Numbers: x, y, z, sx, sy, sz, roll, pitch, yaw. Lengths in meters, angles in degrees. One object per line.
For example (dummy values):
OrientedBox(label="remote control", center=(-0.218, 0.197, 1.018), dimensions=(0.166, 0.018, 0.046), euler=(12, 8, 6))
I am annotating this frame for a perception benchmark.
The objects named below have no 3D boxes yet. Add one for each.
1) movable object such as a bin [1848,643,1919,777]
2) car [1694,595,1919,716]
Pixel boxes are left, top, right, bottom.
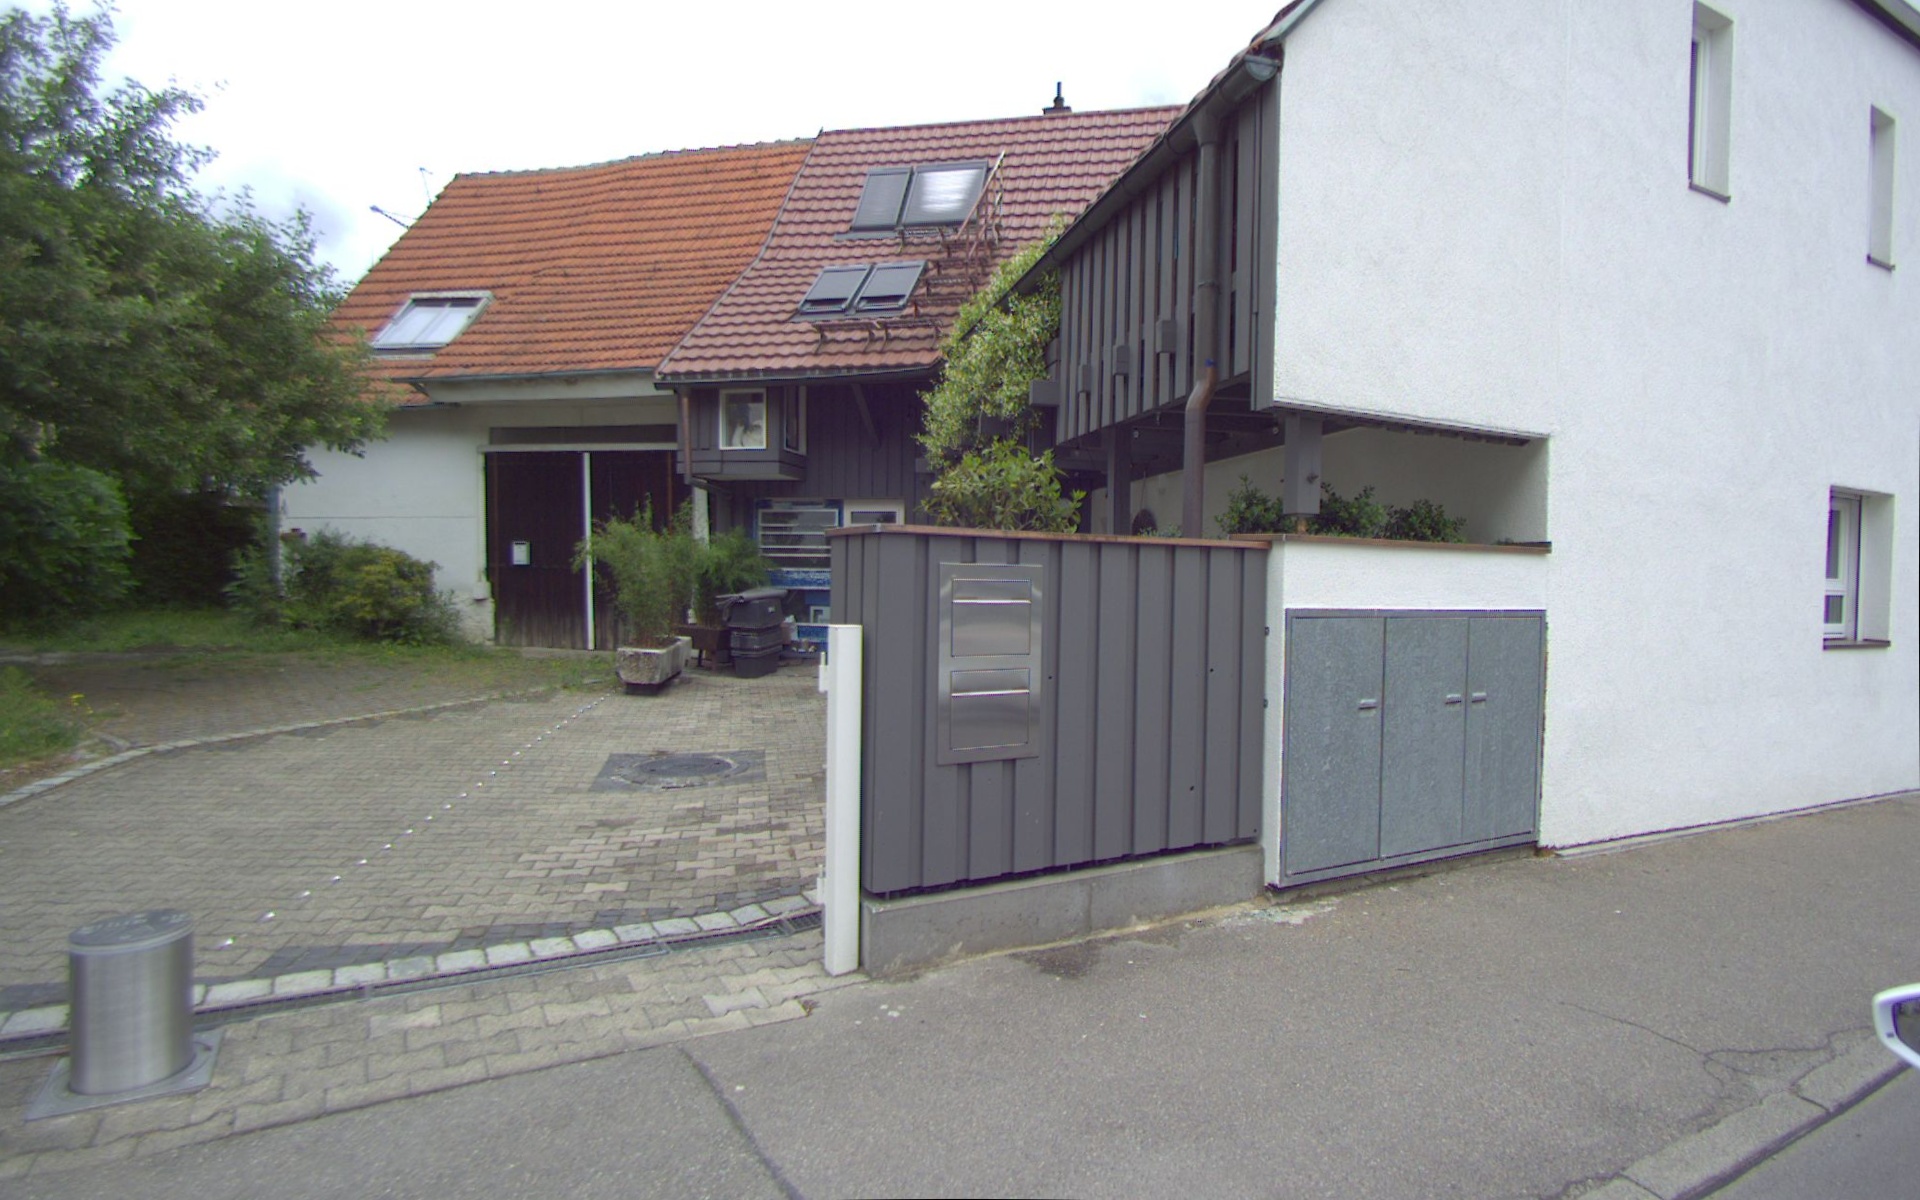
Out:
OrientedBox(label="movable object such as a bin", center=(8.559, 0.972, 8.918), dimensions=(0.739, 1.090, 0.615), euler=(3, 3, -9))
OrientedBox(label="car", center=(13.157, 0.806, 14.336), dimensions=(2.093, 1.430, 3.717), euler=(3, 2, -26))
